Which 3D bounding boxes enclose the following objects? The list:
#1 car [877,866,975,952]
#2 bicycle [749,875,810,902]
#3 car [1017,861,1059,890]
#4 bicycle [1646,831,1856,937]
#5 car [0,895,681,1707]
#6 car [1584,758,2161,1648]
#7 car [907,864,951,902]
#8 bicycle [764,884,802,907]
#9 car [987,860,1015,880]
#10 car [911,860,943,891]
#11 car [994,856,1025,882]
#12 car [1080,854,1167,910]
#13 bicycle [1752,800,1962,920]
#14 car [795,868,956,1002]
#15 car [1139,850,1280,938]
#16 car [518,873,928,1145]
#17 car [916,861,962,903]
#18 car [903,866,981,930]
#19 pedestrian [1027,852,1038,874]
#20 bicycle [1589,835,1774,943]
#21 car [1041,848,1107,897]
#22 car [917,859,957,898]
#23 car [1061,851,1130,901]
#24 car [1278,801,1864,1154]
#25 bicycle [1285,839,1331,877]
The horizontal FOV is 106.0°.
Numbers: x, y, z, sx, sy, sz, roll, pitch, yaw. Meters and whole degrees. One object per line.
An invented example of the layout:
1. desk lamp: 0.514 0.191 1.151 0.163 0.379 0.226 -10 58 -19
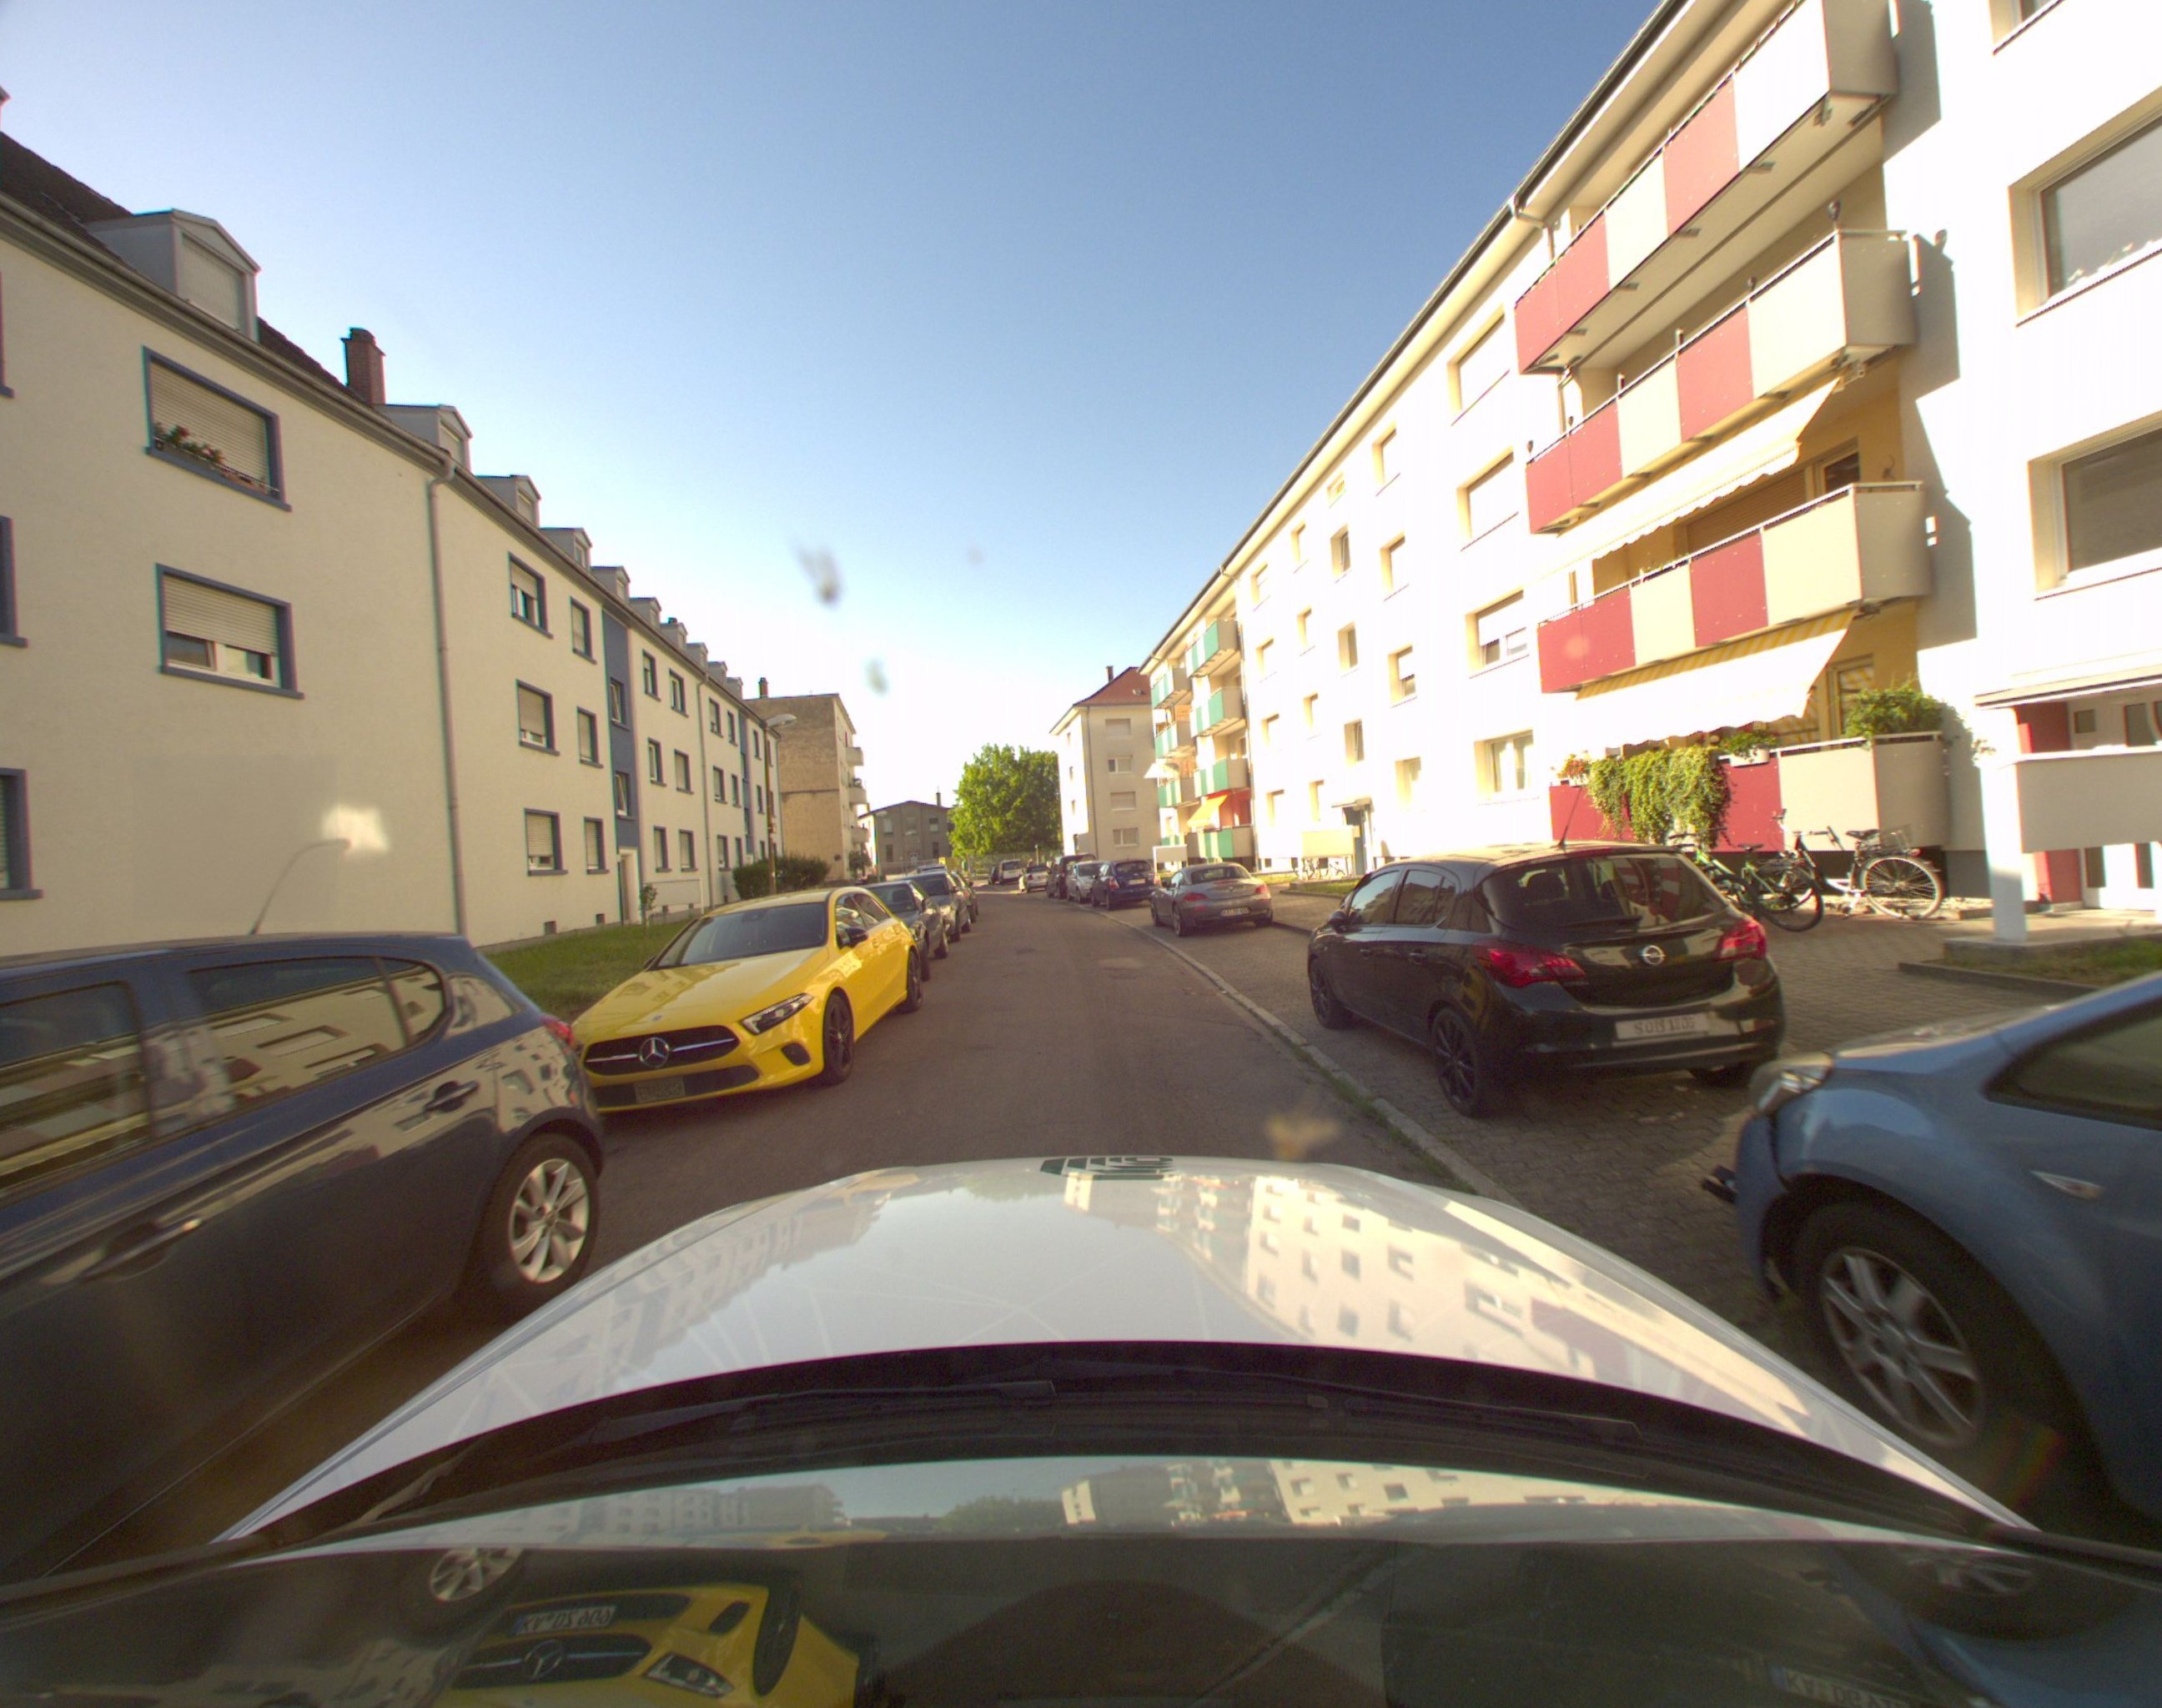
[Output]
1. car: -3.286 1.104 17.858 1.476 1.477 3.627 -8 0 -3
2. bicycle: -14.438 1.639 39.124 2.676 1.130 0.769 -2 0 -18
3. car: -2.444 1.196 45.863 1.718 1.364 4.040 -6 0 -11
4. bicycle: 7.353 0.276 9.080 0.616 0.978 1.893 -8 2 -3
5. car: -2.769 1.024 1.802 1.689 1.444 4.018 -6 1 -1
6. car: 2.799 0.558 0.954 1.760 1.635 4.039 -5 -1 -1
7. car: -7.316 1.350 39.058 1.834 1.515 3.984 -6 0 -12
8. bicycle: -15.229 2.123 41.660 1.647 0.936 0.546 -6 0 -10
9. car: -6.616 1.312 66.937 1.766 1.362 4.078 -6 0 -11
10. car: -11.235 1.554 59.397 1.995 2.013 4.436 -6 0 -11
11. car: -5.465 1.144 61.573 1.766 1.739 4.078 -6 0 -11
12. car: 1.243 0.835 25.803 1.737 1.431 4.342 -6 0 -9
13. bicycle: 8.394 0.064 8.923 0.406 1.150 1.759 -6 0 -4
14. car: -2.976 1.075 12.627 1.566 1.464 4.255 -6 1 -4
15. car: 2.442 0.719 16.556 1.683 1.363 4.231 -7 0 -6
16. car: -2.615 1.012 7.159 1.689 1.389 4.155 -6 1 -1
17. car: -5.967 1.139 34.019 1.660 1.443 3.856 -6 0 -11
18. car: -3.878 1.168 23.347 1.742 1.431 4.588 -7 0 -6
19. pedestrian: -4.094 0.786 68.834 0.652 1.815 0.614 -6 0 -2
20. bicycle: 6.532 0.354 9.003 0.497 1.019 1.839 -6 0 -4
21. car: -0.388 0.818 35.484 1.898 1.855 4.325 -5 -1 -12
22. car: -7.821 1.320 44.112 1.898 1.855 4.178 -5 -1 -11
23. car: 0.469 0.803 30.400 1.682 1.587 3.998 -5 0 -10
24. car: 2.873 0.596 5.921 1.730 1.508 3.883 -7 0 -1
25. bicycle: 7.139 0.121 25.728 0.649 1.068 1.728 -9 2 -7
